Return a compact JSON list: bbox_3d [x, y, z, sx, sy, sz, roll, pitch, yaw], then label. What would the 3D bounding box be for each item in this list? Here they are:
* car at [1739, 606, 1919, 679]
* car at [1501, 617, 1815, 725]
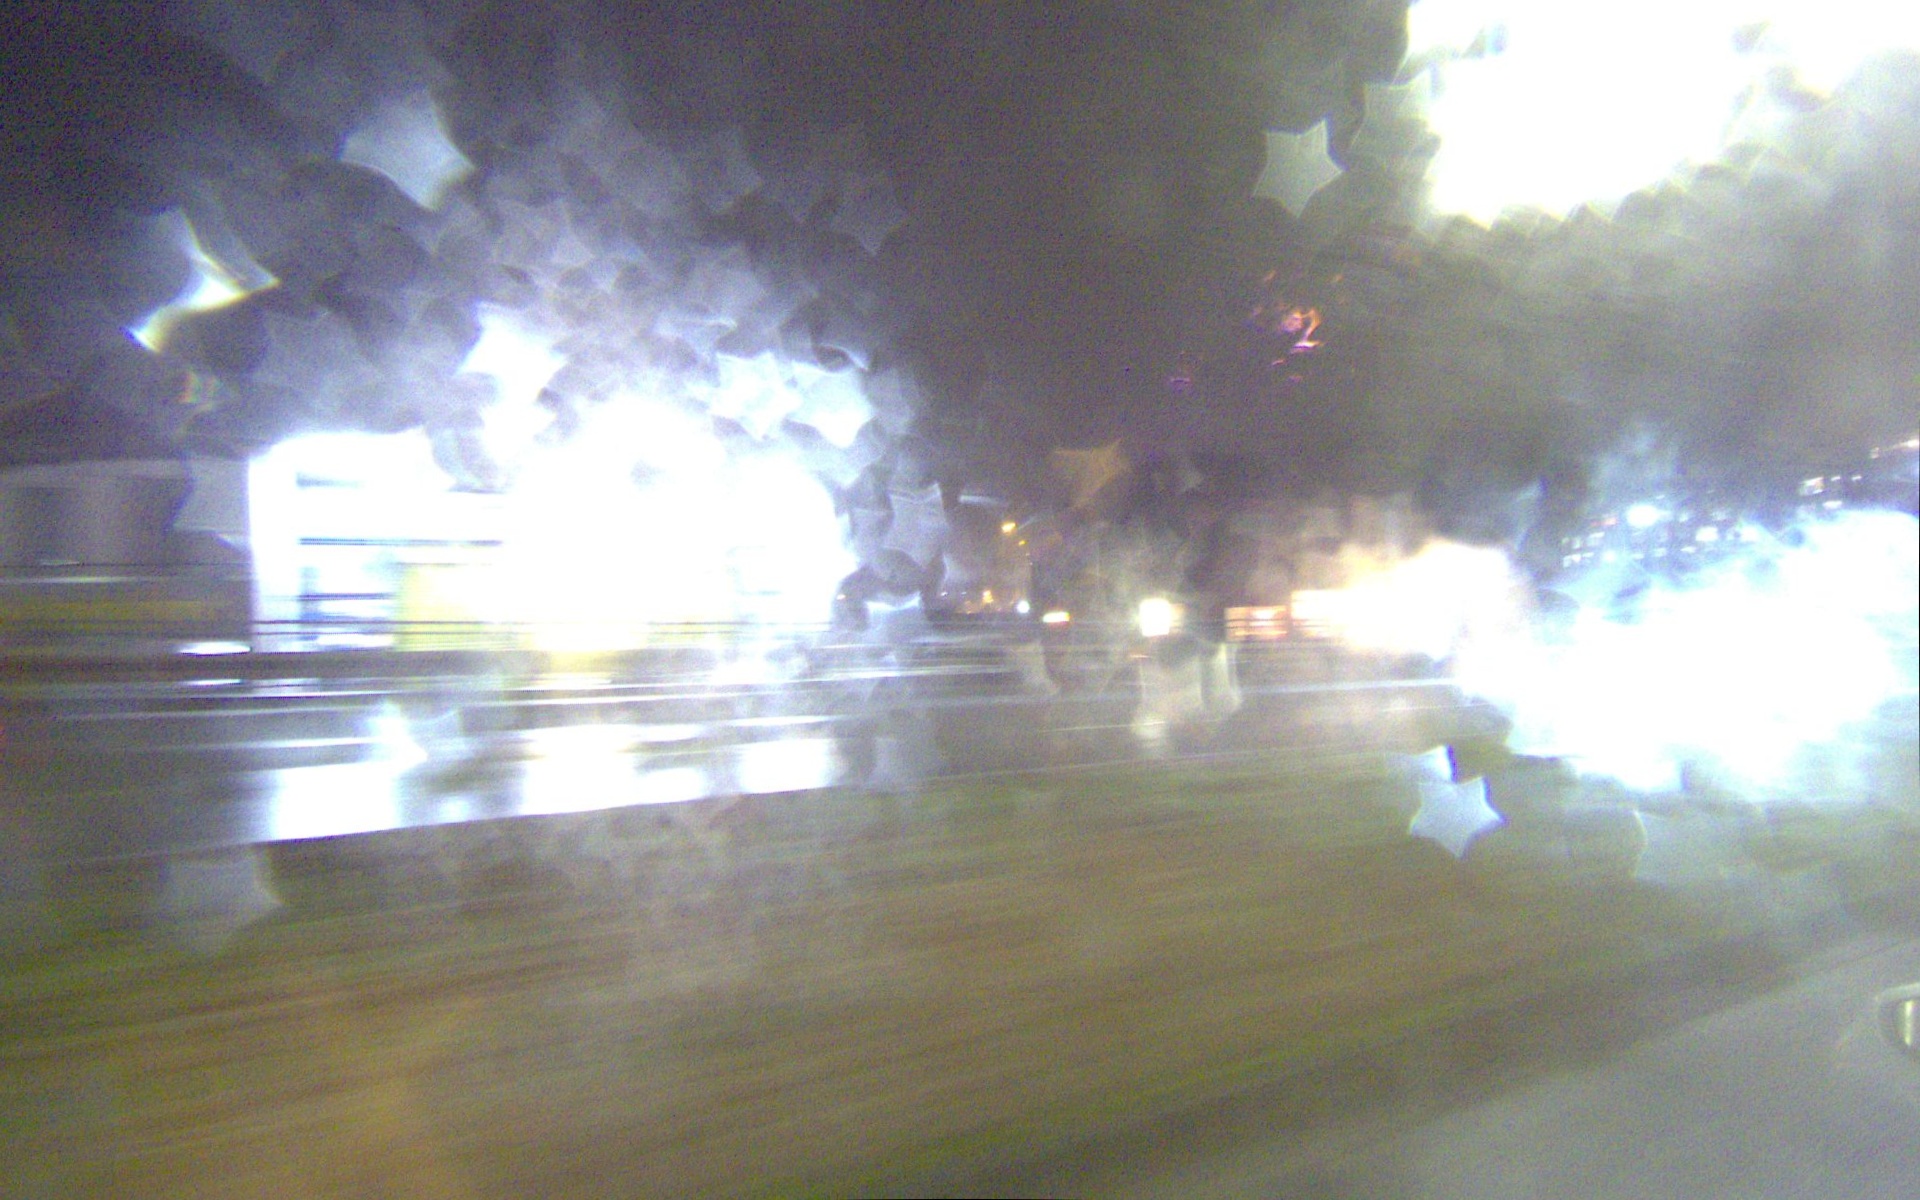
[{"bbox_3d":[21.014,0.990,24.212,3.947,1.615,1.987,0,-2,-26],"label":"car"},{"bbox_3d":[10.889,1.063,15.657,4.574,1.482,1.862,0,-4,-24],"label":"car"}]
